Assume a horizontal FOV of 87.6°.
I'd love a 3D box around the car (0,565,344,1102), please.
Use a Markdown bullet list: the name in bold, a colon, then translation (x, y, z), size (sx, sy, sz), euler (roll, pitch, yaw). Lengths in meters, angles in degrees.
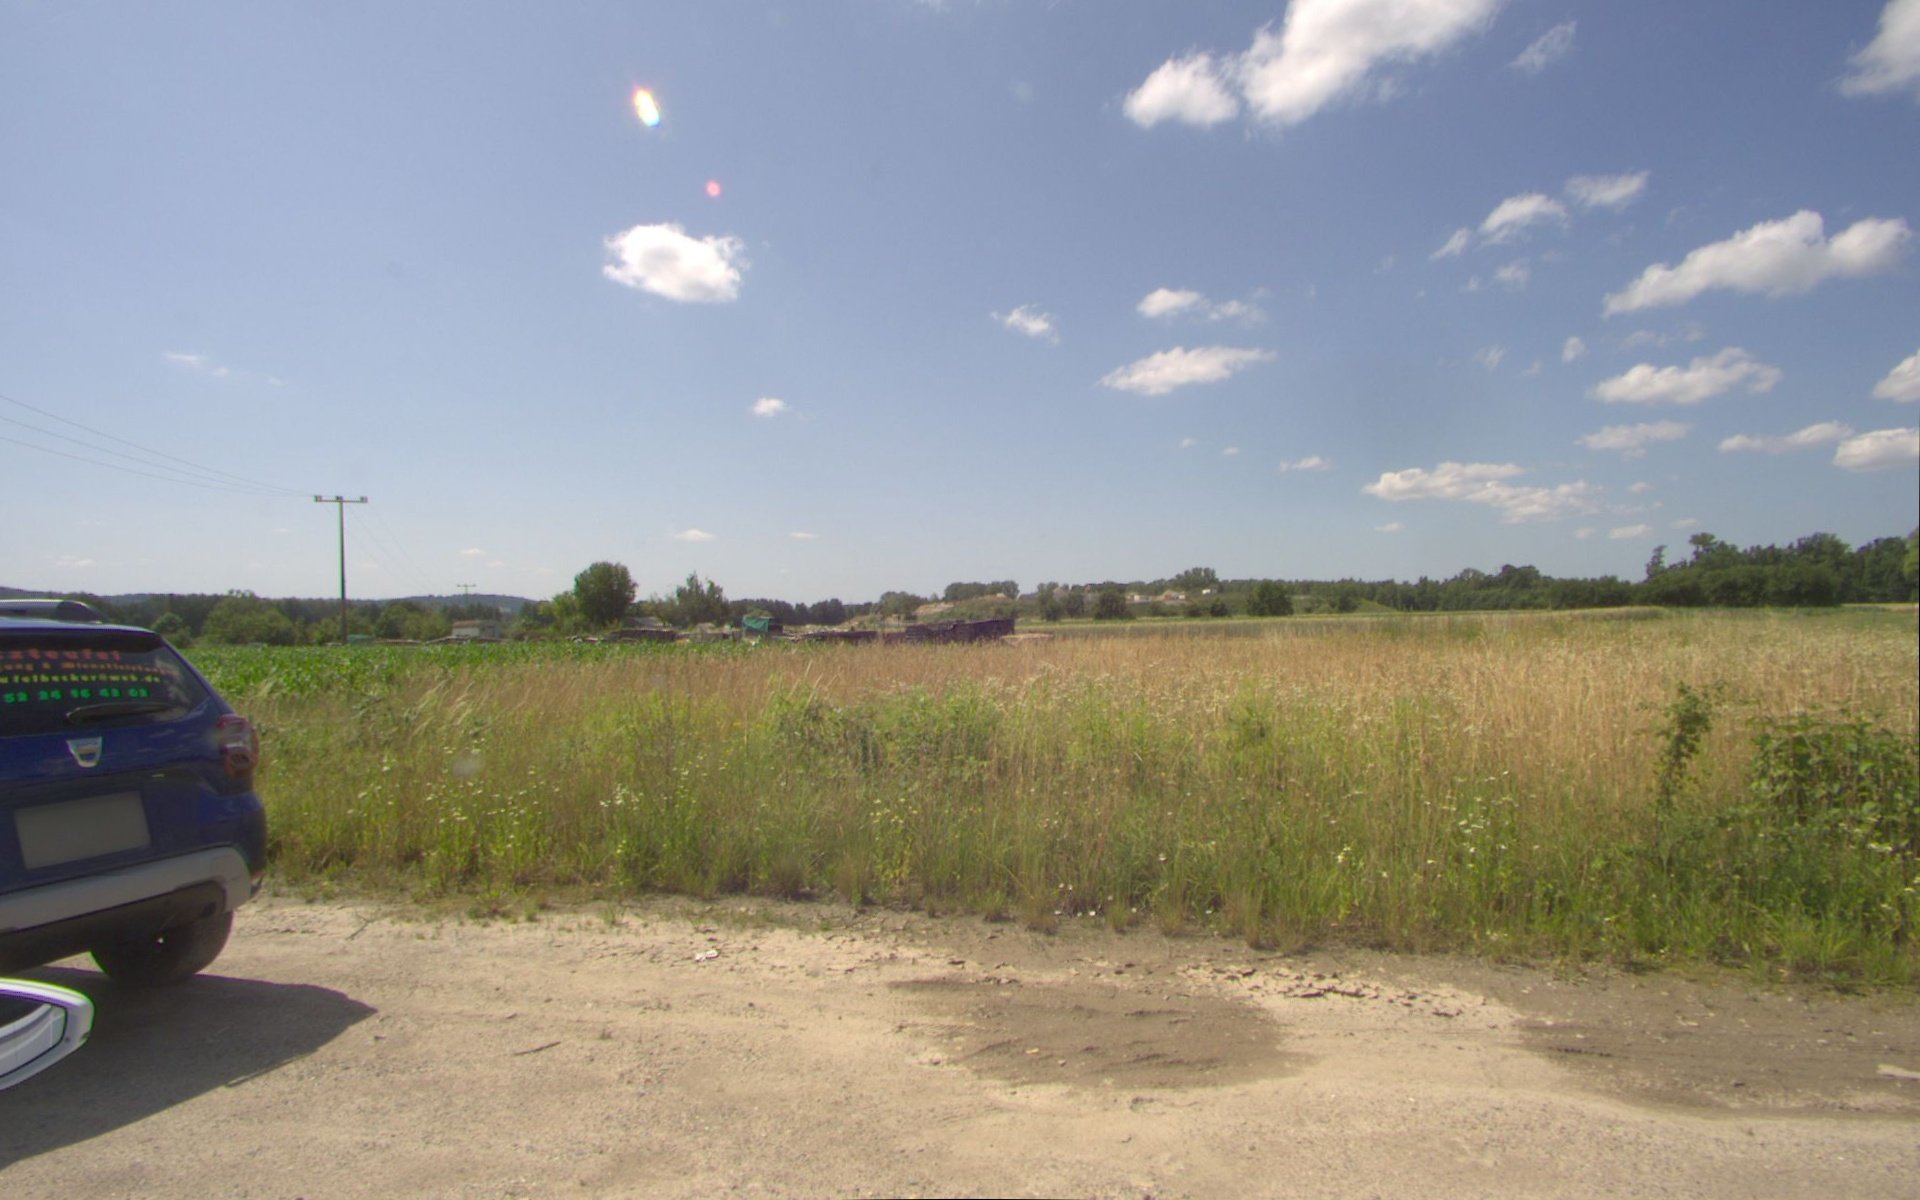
- **car**: translation (-5.050, 0.824, 4.041), size (4.377, 1.682, 1.863), euler (-2, -2, 15)
